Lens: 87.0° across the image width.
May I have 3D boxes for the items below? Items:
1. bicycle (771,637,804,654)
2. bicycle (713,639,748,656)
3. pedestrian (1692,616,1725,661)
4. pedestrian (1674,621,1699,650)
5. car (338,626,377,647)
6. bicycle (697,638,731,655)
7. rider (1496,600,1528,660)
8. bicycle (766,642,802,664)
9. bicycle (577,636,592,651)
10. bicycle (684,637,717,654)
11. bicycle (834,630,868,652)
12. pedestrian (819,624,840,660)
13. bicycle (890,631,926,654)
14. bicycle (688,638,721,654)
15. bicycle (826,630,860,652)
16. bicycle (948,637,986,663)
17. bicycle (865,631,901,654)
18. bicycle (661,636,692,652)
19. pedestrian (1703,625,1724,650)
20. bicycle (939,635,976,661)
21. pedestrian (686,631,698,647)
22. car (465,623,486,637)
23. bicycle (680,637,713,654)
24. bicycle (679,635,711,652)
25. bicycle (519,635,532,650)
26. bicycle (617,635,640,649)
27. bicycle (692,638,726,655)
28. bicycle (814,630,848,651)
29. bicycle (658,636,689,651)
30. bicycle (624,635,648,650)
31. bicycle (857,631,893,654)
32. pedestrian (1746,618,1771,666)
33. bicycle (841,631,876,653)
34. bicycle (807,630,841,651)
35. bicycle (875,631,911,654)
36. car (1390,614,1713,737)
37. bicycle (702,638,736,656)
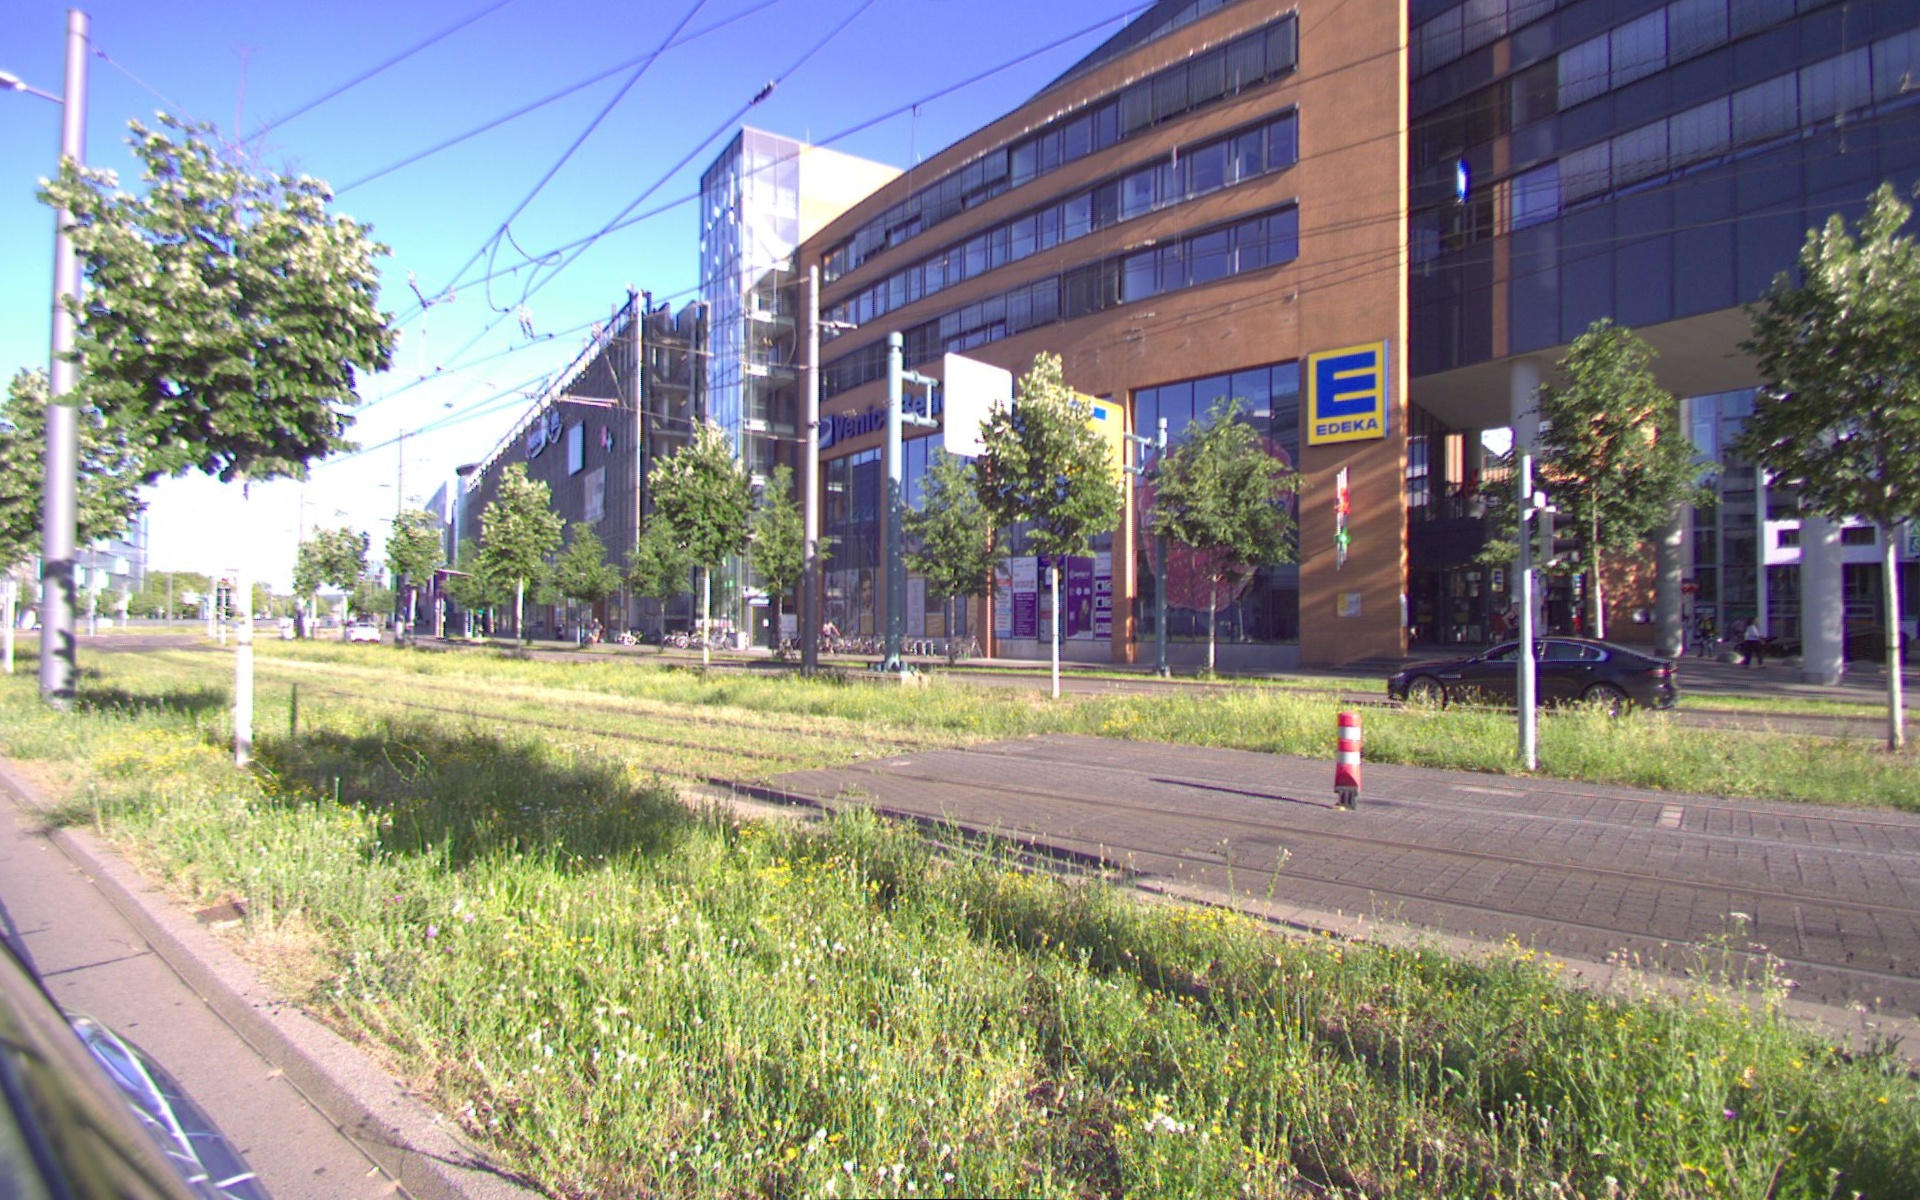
[{"bbox_3d":[-9.554,2.526,56.086,1.741,0.933,0.566,1,-2,-33],"label":"bicycle"},{"bbox_3d":[-12.467,2.574,54.926,1.741,0.933,0.566,1,-2,-33],"label":"bicycle"},{"bbox_3d":[29.738,1.512,40.195,0.778,1.720,0.810,0,0,-32],"label":"pedestrian"},{"bbox_3d":[37.658,1.825,52.464,1.038,1.491,0.660,0,0,-32],"label":"pedestrian"},{"bbox_3d":[-40.348,2.457,67.716,1.782,1.338,4.415,2,-2,-36],"label":"car"},{"bbox_3d":[-13.680,2.595,56.360,1.741,0.933,0.566,1,-2,-33],"label":"bicycle"},{"bbox_3d":[17.028,0.928,31.216,0.712,1.816,0.710,-1,-2,42],"label":"rider"},{"bbox_3d":[-7.280,2.176,41.863,1.771,0.875,0.458,-1,-2,42],"label":"bicycle"},{"bbox_3d":[-22.719,2.638,61.213,0.380,0.875,1.775,1,-2,-36],"label":"bicycle"},{"bbox_3d":[-14.921,2.619,58.184,1.741,0.933,0.566,1,-2,-33],"label":"bicycle"},{"bbox_3d":[-5.378,2.042,50.084,1.744,1.057,0.491,1,-2,-42],"label":"bicycle"},{"bbox_3d":[-6.198,2.000,48.034,0.736,1.681,0.676,1,-2,-43],"label":"pedestrian"},{"bbox_3d":[-2.431,1.993,47.372,1.744,1.057,0.491,1,-2,-42],"label":"bicycle"},{"bbox_3d":[-14.532,2.611,57.592,1.741,0.933,0.566,1,-2,-33],"label":"bicycle"},{"bbox_3d":[-5.834,2.050,50.603,1.744,1.057,0.491,1,-2,-42],"label":"bicycle"},{"bbox_3d":[0.297,2.127,43.257,1.744,1.057,0.491,1,-2,-42],"label":"bicycle"},{"bbox_3d":[-3.646,2.011,48.071,1.744,1.057,0.491,1,-2,-42],"label":"bicycle"},{"bbox_3d":[-17.219,2.662,61.486,1.741,0.933,0.566,1,-2,-33],"label":"bicycle"},{"bbox_3d":[39.036,1.942,52.405,0.627,1.287,0.664,0,0,-32],"label":"pedestrian"},{"bbox_3d":[-0.097,2.068,43.690,1.744,1.057,0.491,1,-2,-42],"label":"bicycle"},{"bbox_3d":[-17.919,2.591,67.608,0.619,1.063,0.450,1,-2,-36],"label":"pedestrian"},{"bbox_3d":[-56.753,3.521,118.501,1.559,1.541,3.759,0,0,-37],"label":"car"},{"bbox_3d":[-15.289,2.626,58.782,1.741,0.933,0.566,1,-2,-33],"label":"bicycle"},{"bbox_3d":[-15.559,2.553,59.425,1.741,0.933,0.492,1,-2,-33],"label":"bicycle"},{"bbox_3d":[-27.407,2.661,63.835,0.380,0.930,1.775,1,-2,-36],"label":"bicycle"},{"bbox_3d":[-22.096,2.788,67.484,1.377,0.933,0.463,1,-2,-33],"label":"bicycle"},{"bbox_3d":[-14.139,2.604,57.022,1.741,0.933,0.566,1,-2,-33],"label":"bicycle"},{"bbox_3d":[-6.529,2.062,51.334,1.744,1.057,0.491,1,-2,-42],"label":"bicycle"},{"bbox_3d":[-17.576,2.669,62.061,1.741,0.933,0.492,1,-2,-33],"label":"bicycle"},{"bbox_3d":[-21.220,2.772,66.305,1.377,0.933,0.463,1,-2,-33],"label":"bicycle"},{"bbox_3d":[-4.079,2.019,48.582,1.744,1.057,0.491,1,-2,-42],"label":"bicycle"},{"bbox_3d":[25.000,1.314,31.680,0.572,1.491,0.447,-1,-1,41],"label":"pedestrian"},{"bbox_3d":[-4.942,2.034,49.536,1.744,1.057,0.491,1,-2,-42],"label":"bicycle"},{"bbox_3d":[-6.930,2.069,51.749,1.744,1.057,0.491,1,-2,-42],"label":"bicycle"},{"bbox_3d":[-3.154,2.003,47.544,1.744,1.057,0.491,1,-2,-42],"label":"bicycle"},{"bbox_3d":[10.471,1.301,18.069,4.731,1.607,1.976,2,-9,38],"label":"car"},{"bbox_3d":[-13.265,2.587,55.709,1.741,0.933,0.566,1,-2,-33],"label":"bicycle"}]
